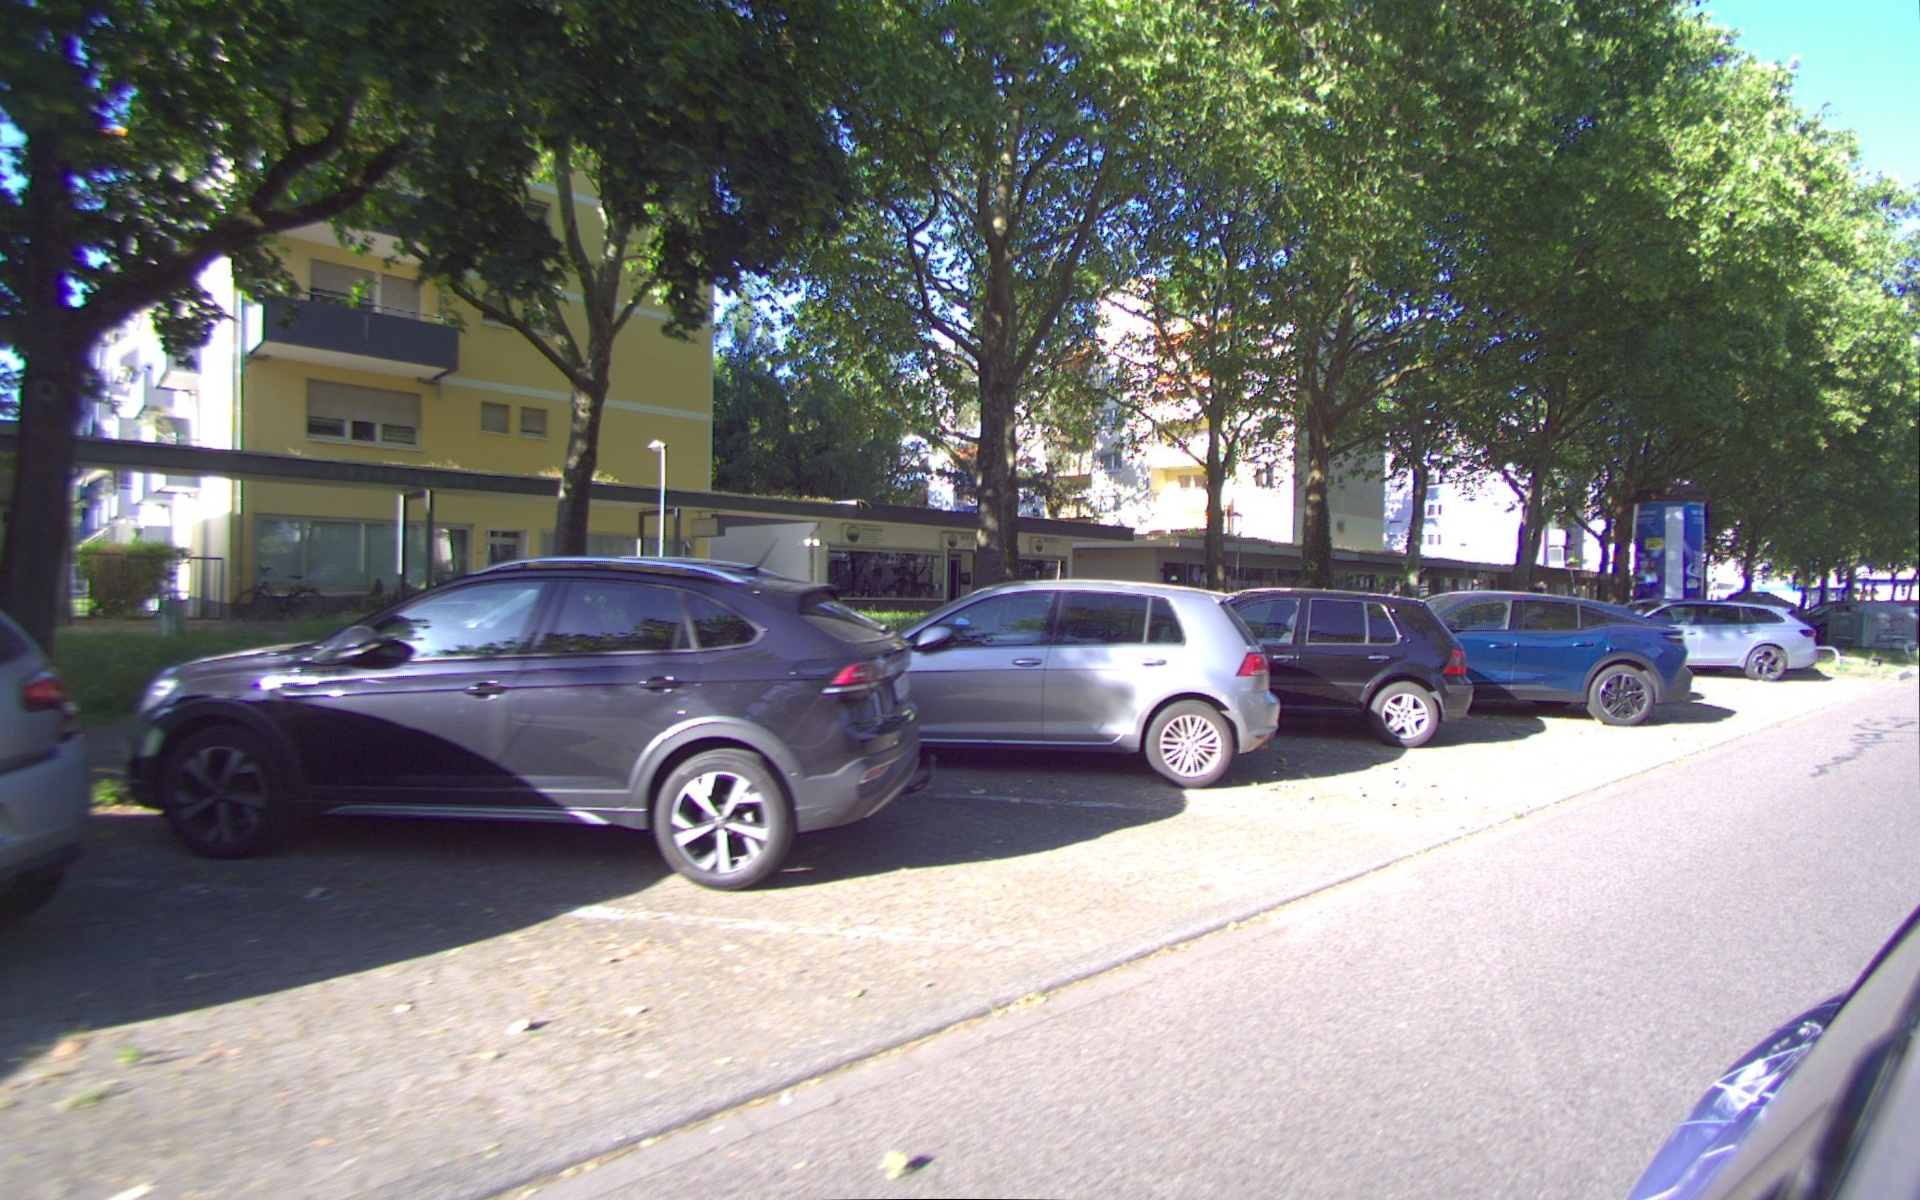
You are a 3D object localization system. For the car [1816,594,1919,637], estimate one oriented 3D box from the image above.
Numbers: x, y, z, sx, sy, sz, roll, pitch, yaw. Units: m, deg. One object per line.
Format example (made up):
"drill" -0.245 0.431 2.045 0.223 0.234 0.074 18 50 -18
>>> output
"car" 36.229 0.623 39.386 4.025 1.499 1.645 2 2 14

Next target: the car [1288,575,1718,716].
"car" 6.516 0.484 12.616 4.254 1.442 1.854 2 2 6

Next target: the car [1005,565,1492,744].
"car" 2.743 0.456 10.447 4.386 1.468 1.917 2 3 8

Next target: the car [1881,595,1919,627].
"car" 47.064 0.585 48.689 3.722 1.488 1.649 2 2 6

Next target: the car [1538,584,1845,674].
"car" 14.060 0.521 19.698 4.416 1.461 1.854 2 2 6

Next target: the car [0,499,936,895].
"car" -2.500 0.369 5.495 4.542 1.589 1.855 2 2 5

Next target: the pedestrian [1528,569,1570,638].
"pedestrian" 17.110 0.095 29.383 0.872 1.938 0.858 2 1 41

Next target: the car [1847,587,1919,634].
"car" 39.607 0.458 41.884 4.019 1.833 1.647 2 2 10

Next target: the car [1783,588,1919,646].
"car" 29.631 0.543 32.828 4.252 1.738 1.631 1 0 11

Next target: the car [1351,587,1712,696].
"car" 8.276 0.558 14.999 4.254 1.313 1.689 2 2 6

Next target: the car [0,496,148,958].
"car" -5.585 0.393 3.362 4.544 1.589 1.854 1 1 6

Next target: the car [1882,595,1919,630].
"car" 49.746 0.695 51.380 3.961 1.726 1.757 2 2 9

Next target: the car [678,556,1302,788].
"car" 0.214 0.447 8.109 4.383 1.468 1.918 2 3 5
